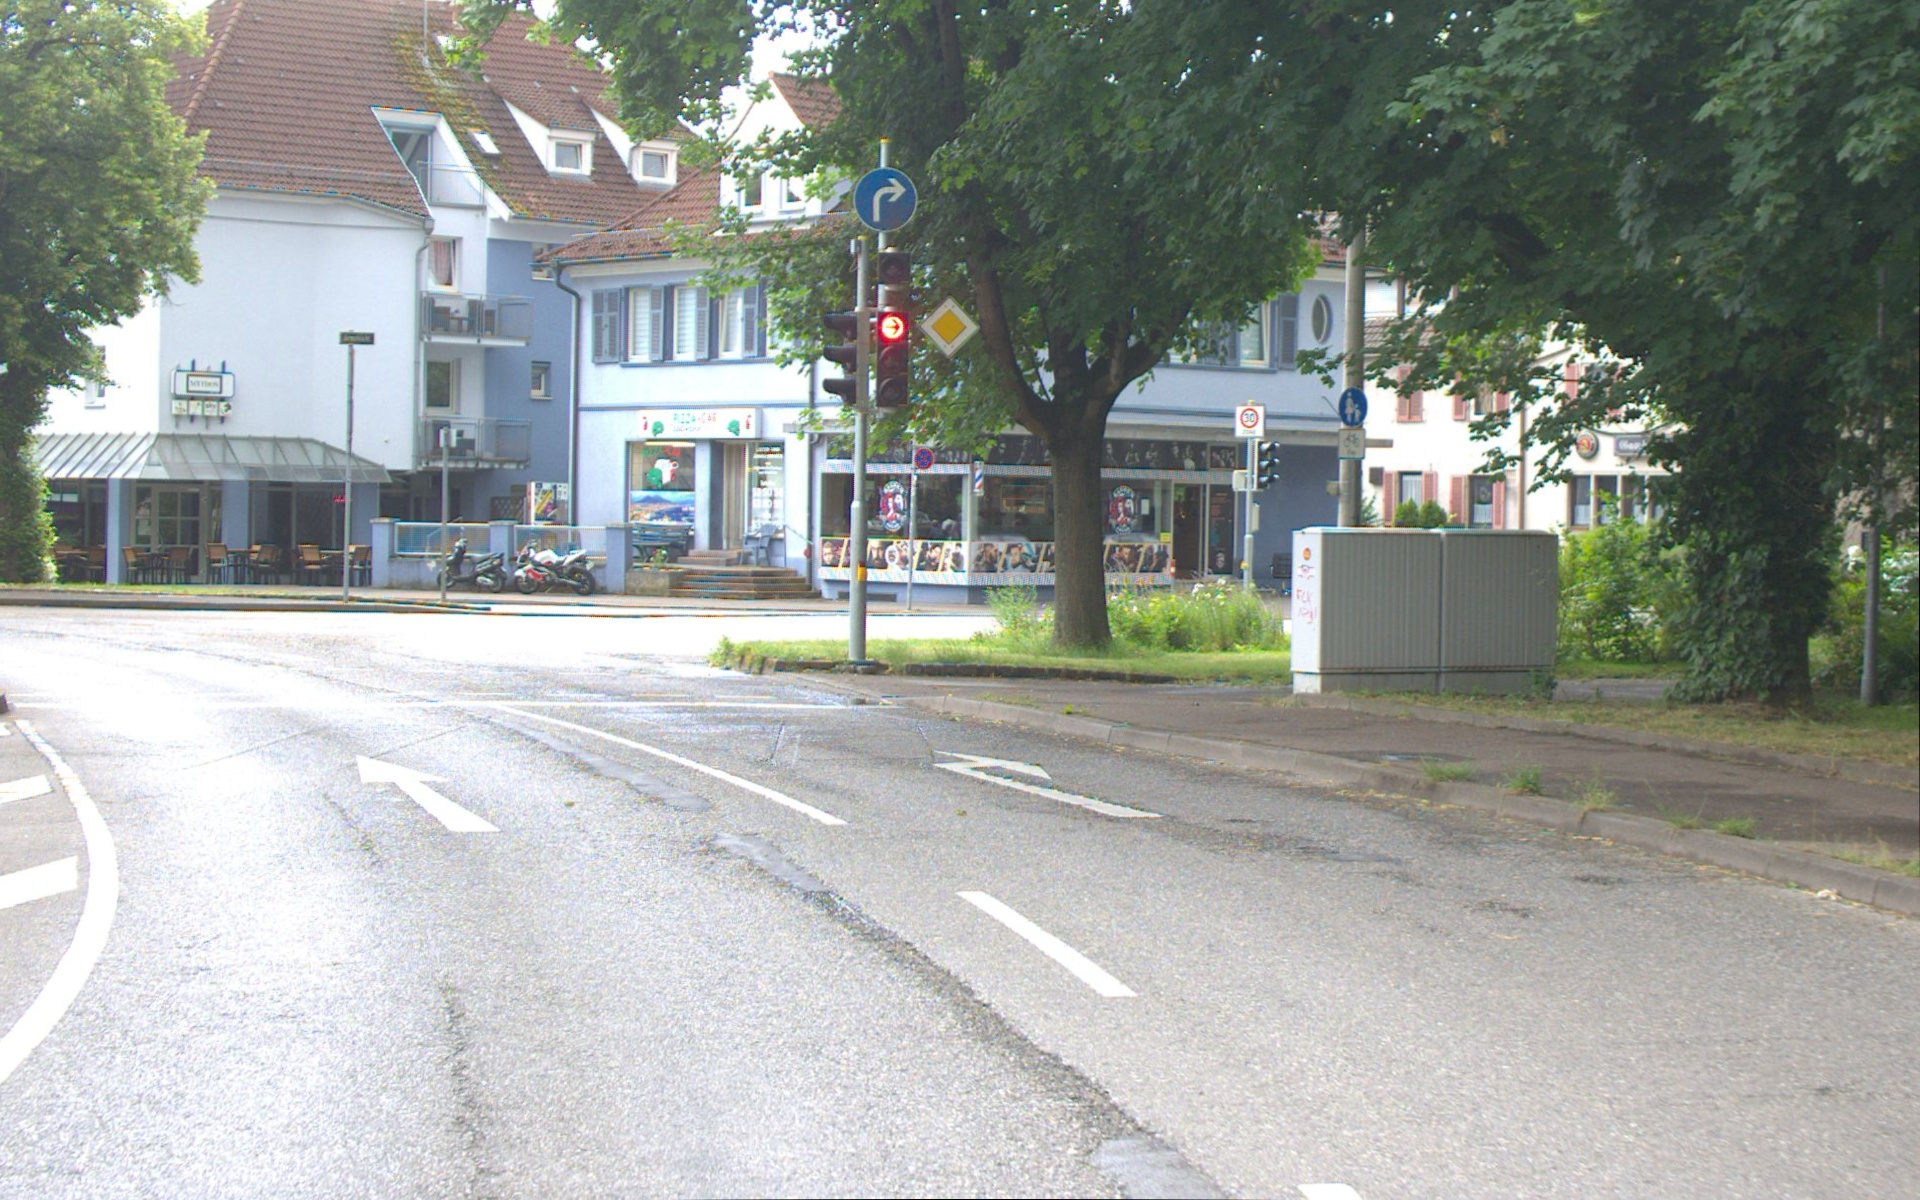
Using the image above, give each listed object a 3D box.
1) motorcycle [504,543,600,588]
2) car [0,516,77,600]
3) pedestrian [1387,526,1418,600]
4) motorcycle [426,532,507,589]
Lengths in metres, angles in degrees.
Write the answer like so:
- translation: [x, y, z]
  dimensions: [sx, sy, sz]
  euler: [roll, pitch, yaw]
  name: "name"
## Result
- translation: [-8.279, -0.701, 69.828]
  dimensions: [1.838, 0.845, 0.560]
  euler: [0, 7, 19]
  name: "motorcycle"
- translation: [-19.009, -0.794, 64.050]
  dimensions: [4.581, 1.512, 1.998]
  euler: [0, 1, 17]
  name: "car"
- translation: [9.300, -0.785, 72.232]
  dimensions: [0.500, 1.546, 0.404]
  euler: [1, 2, 44]
  name: "pedestrian"
- translation: [-10.181, -0.816, 70.945]
  dimensions: [1.496, 1.103, 0.560]
  euler: [0, 7, 15]
  name: "motorcycle"
